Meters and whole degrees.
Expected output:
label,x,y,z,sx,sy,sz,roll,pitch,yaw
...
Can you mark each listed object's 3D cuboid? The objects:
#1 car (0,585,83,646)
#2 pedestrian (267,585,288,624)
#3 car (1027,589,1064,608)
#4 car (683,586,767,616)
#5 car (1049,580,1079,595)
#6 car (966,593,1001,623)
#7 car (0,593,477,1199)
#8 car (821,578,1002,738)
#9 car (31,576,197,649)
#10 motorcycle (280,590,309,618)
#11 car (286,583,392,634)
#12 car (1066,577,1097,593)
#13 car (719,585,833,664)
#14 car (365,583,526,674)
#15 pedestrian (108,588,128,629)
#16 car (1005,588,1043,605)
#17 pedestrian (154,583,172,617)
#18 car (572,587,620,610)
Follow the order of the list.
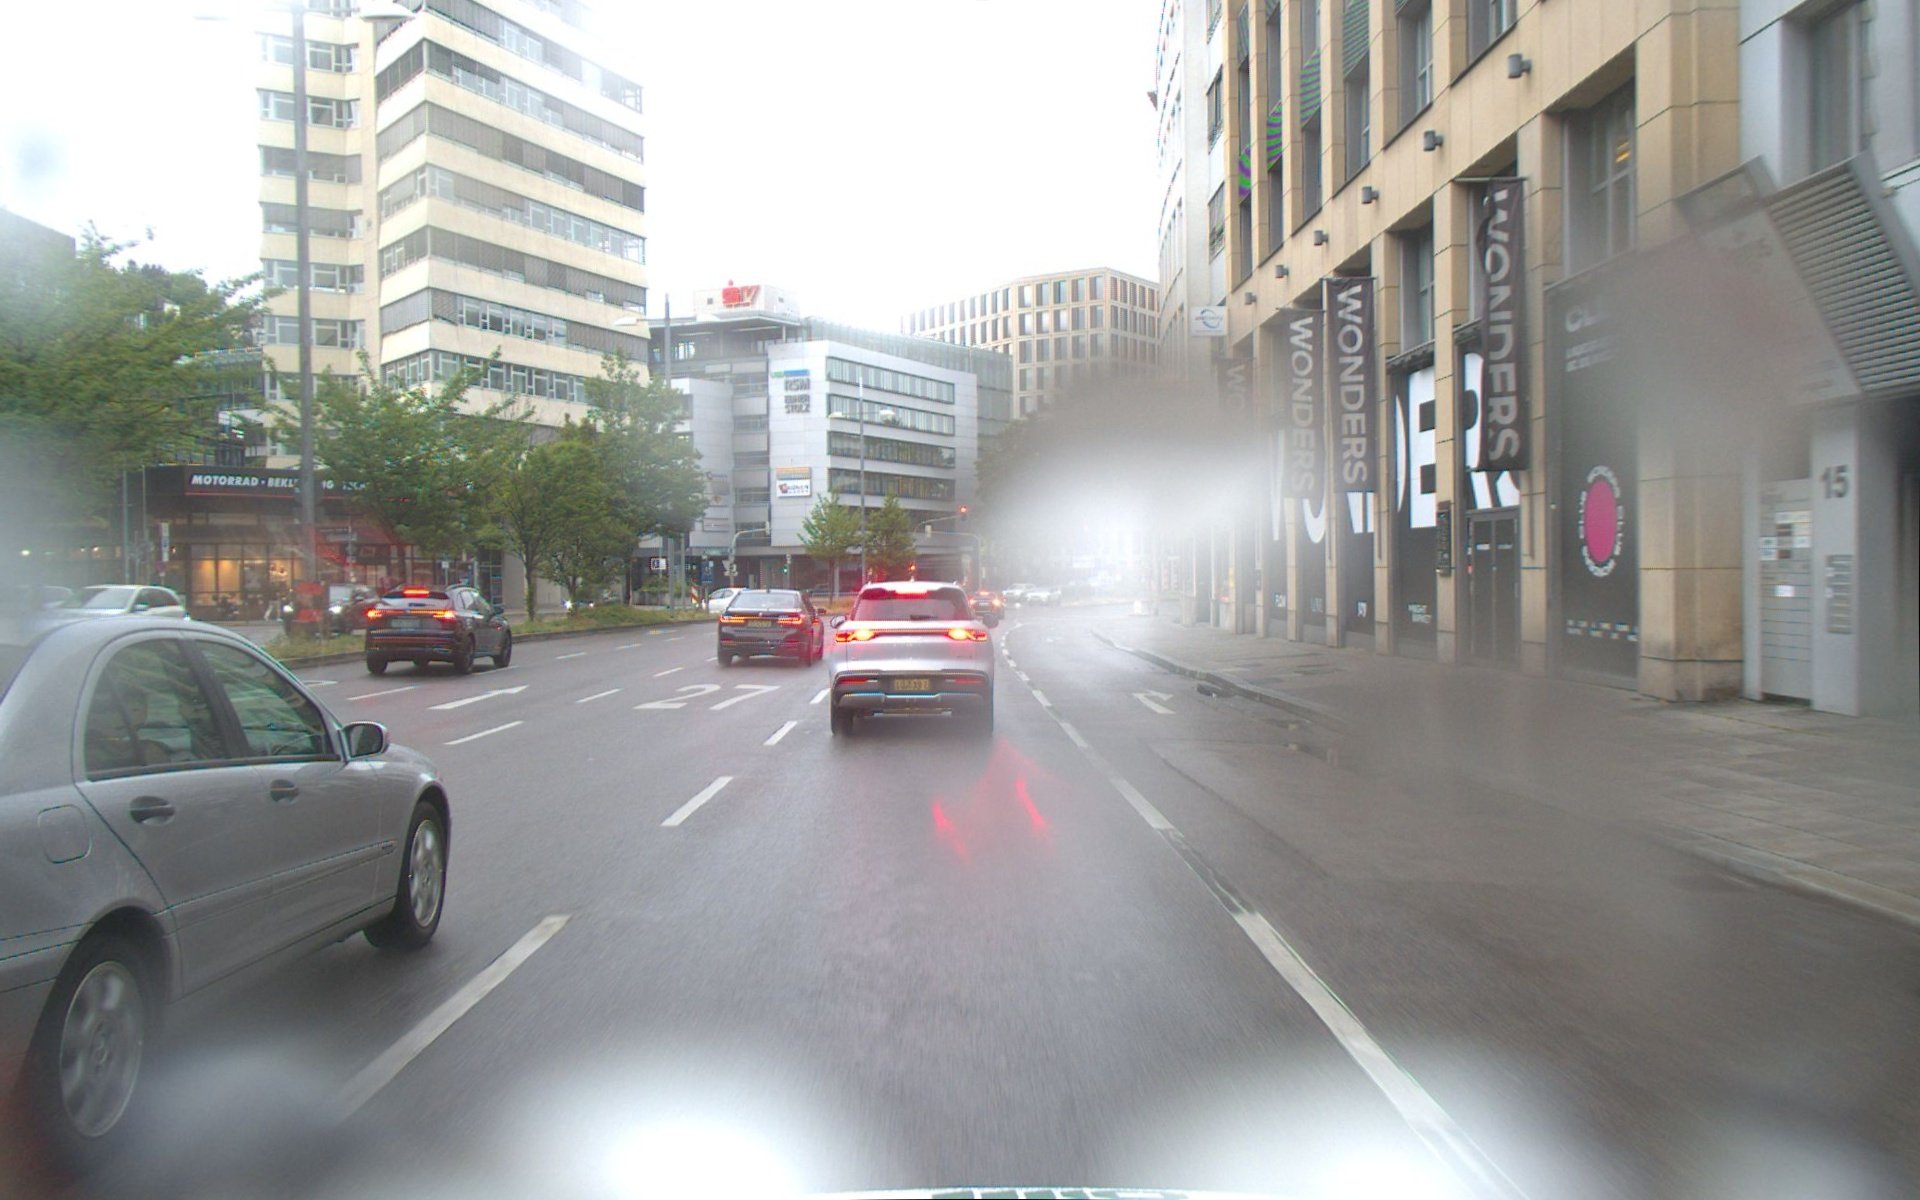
label,x,y,z,sx,sy,sz,roll,pitch,yaw
car,-24.486,0.361,42.817,1.591,1.486,3.961,1,1,-3
pedestrian,-31.057,0.196,75.286,0.746,1.743,0.585,-1,1,-39
car,7.402,-0.115,142.510,1.551,1.565,3.993,0,1,29
car,-11.079,0.023,77.763,3.922,1.365,1.652,0,1,38
car,10.697,-1.318,170.107,1.551,1.565,3.993,0,1,29
car,1.311,0.424,90.559,1.774,1.606,4.001,0,1,2
car,-2.989,0.738,5.302,1.638,1.505,4.360,0,0,-1
car,-0.526,0.579,19.082,1.862,1.649,3.999,0,0,-1
car,-18.649,0.262,36.672,1.591,1.518,4.304,-1,0,-3
motorcycle,-32.116,0.191,79.830,0.700,1.356,1.792,-1,1,-44
car,-18.829,0.252,50.323,1.590,1.478,4.162,-1,0,1
car,13.032,-1.607,177.250,1.822,1.766,3.993,0,1,29
car,-3.720,0.455,34.271,1.834,1.505,4.878,0,0,0
car,-9.126,0.480,29.639,1.738,1.482,3.998,-1,0,-2
pedestrian,-31.718,0.301,62.321,0.597,1.530,0.431,-1,1,-39
car,5.959,-0.339,153.900,1.554,1.565,3.985,0,1,35
pedestrian,-35.990,-0.018,74.659,0.661,1.530,0.431,-1,1,-39
car,-19.140,-0.100,87.115,1.547,1.109,4.001,-1,1,1
